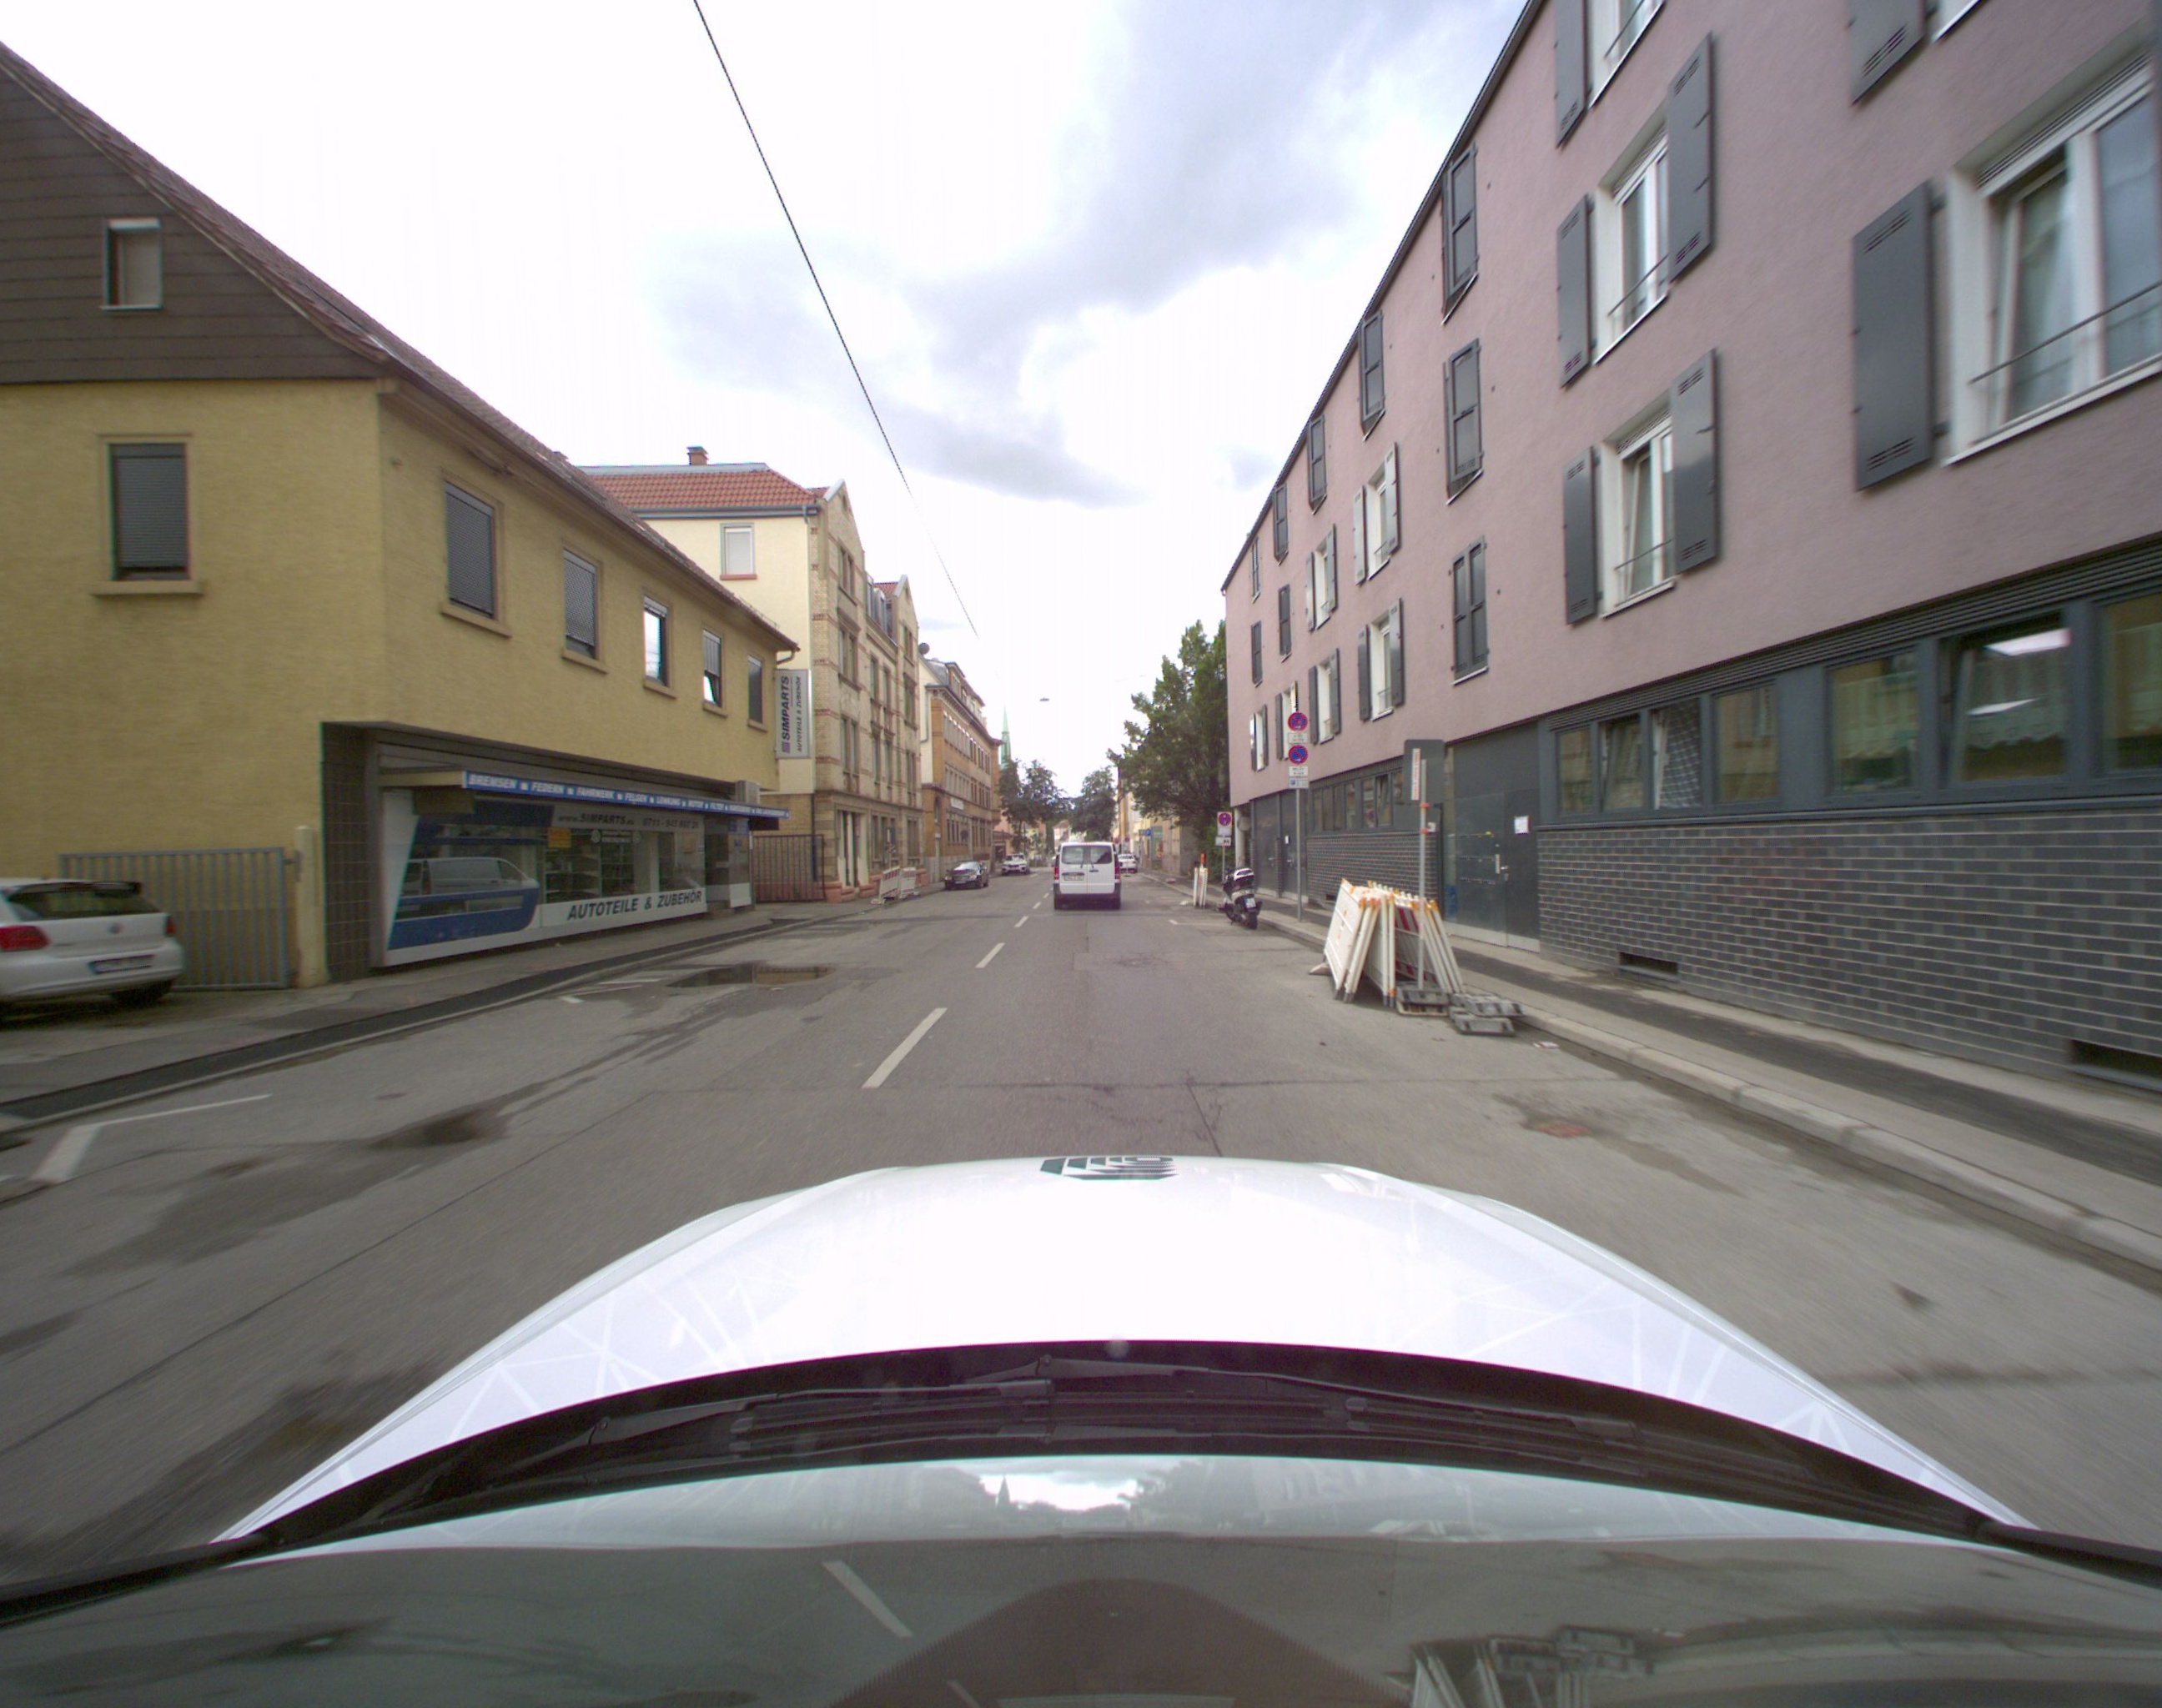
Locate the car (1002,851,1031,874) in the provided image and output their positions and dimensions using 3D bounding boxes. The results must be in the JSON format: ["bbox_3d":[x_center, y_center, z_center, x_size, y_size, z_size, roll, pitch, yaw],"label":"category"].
[{"bbox_3d":[-5.170,0.675,65.642,1.885,1.712,4.740,-3,0,0],"label":"car"}]

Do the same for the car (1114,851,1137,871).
[{"bbox_3d":[3.613,0.543,65.904,1.760,1.466,4.787,-1,0,3],"label":"car"}]

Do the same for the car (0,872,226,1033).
[{"bbox_3d":[-11.953,0.994,8.529,3.978,1.486,1.724,-1,0,-4],"label":"car"}]

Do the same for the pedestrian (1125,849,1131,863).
[{"bbox_3d":[5.420,0.219,93.183,0.613,1.653,0.982,0,0,-2],"label":"pedestrian"}]

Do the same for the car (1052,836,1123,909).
[{"bbox_3d":[0.165,0.500,23.828,1.867,1.912,3.999,-1,0,-1],"label":"car"}]

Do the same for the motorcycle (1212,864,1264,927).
[{"bbox_3d":[3.304,0.836,17.324,0.644,1.226,2.337,0,0,0],"label":"motorcycle"}]

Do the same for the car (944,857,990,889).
[{"bbox_3d":[-5.624,0.905,40.770,1.573,1.382,4.355,-3,0,1],"label":"car"}]
